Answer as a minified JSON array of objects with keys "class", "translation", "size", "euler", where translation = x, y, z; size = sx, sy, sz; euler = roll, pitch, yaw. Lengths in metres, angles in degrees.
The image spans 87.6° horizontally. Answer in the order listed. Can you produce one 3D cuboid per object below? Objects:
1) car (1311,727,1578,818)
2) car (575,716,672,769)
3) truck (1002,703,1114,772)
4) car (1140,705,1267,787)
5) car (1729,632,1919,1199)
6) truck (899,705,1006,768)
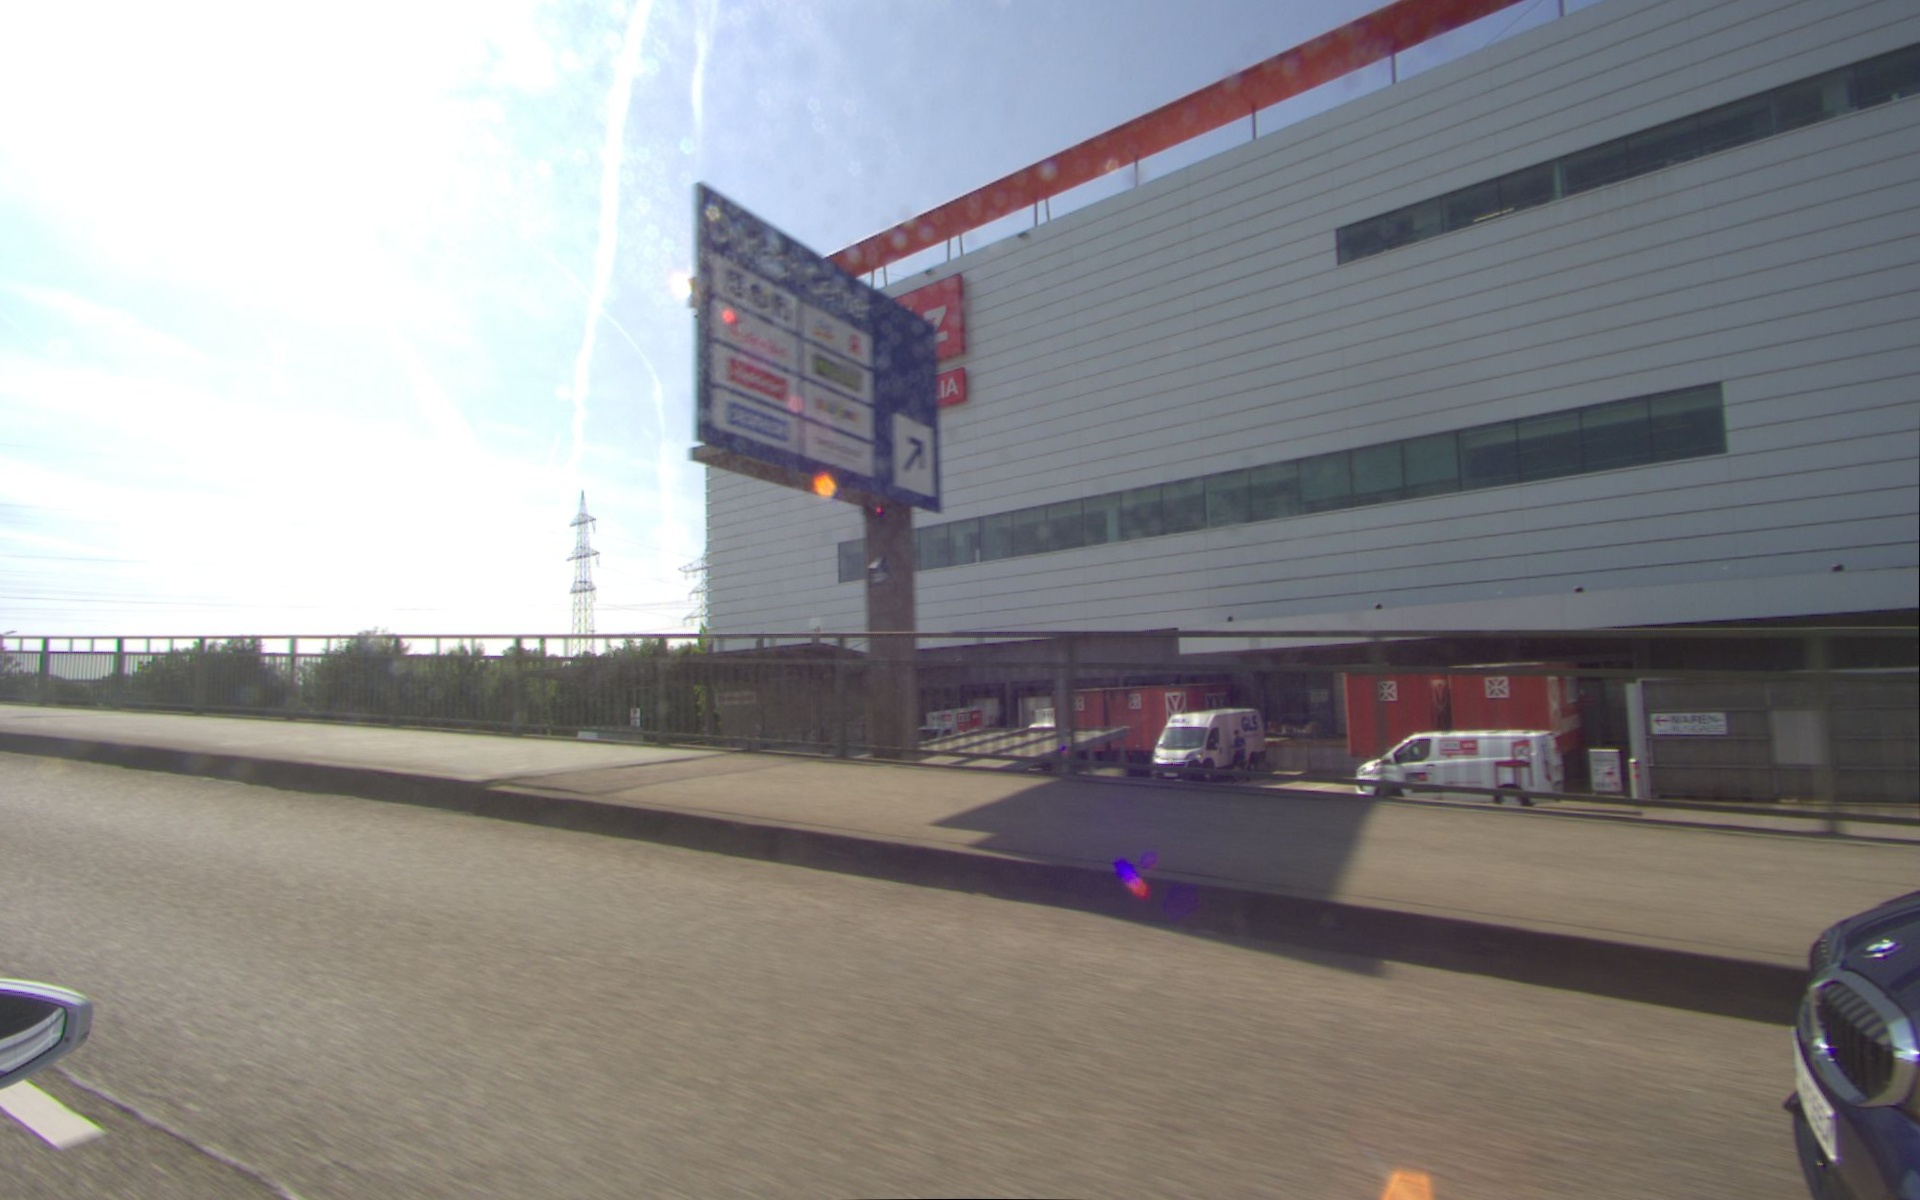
[{"class":"car","translation":[12.663,4.450,26.499],"size":[5.946,2.028,2.116],"euler":[-6,-6,40]},{"class":"car","translation":[-20.837,8.792,62.296],"size":[2.100,2.960,5.997],"euler":[-4,-6,27]},{"class":"truck","translation":[4.719,6.432,47.508],"size":[2.110,2.960,5.966],"euler":[-6,-7,41]},{"class":"car","translation":[9.062,5.277,36.853],"size":[2.108,2.650,5.973],"euler":[-6,-7,38]},{"class":"car","translation":[3.679,0.673,0.947],"size":[4.461,1.500,1.784],"euler":[-6,-6,34]},{"class":"truck","translation":[-0.337,7.044,52.280],"size":[2.110,2.960,5.966],"euler":[-6,-7,41]}]
